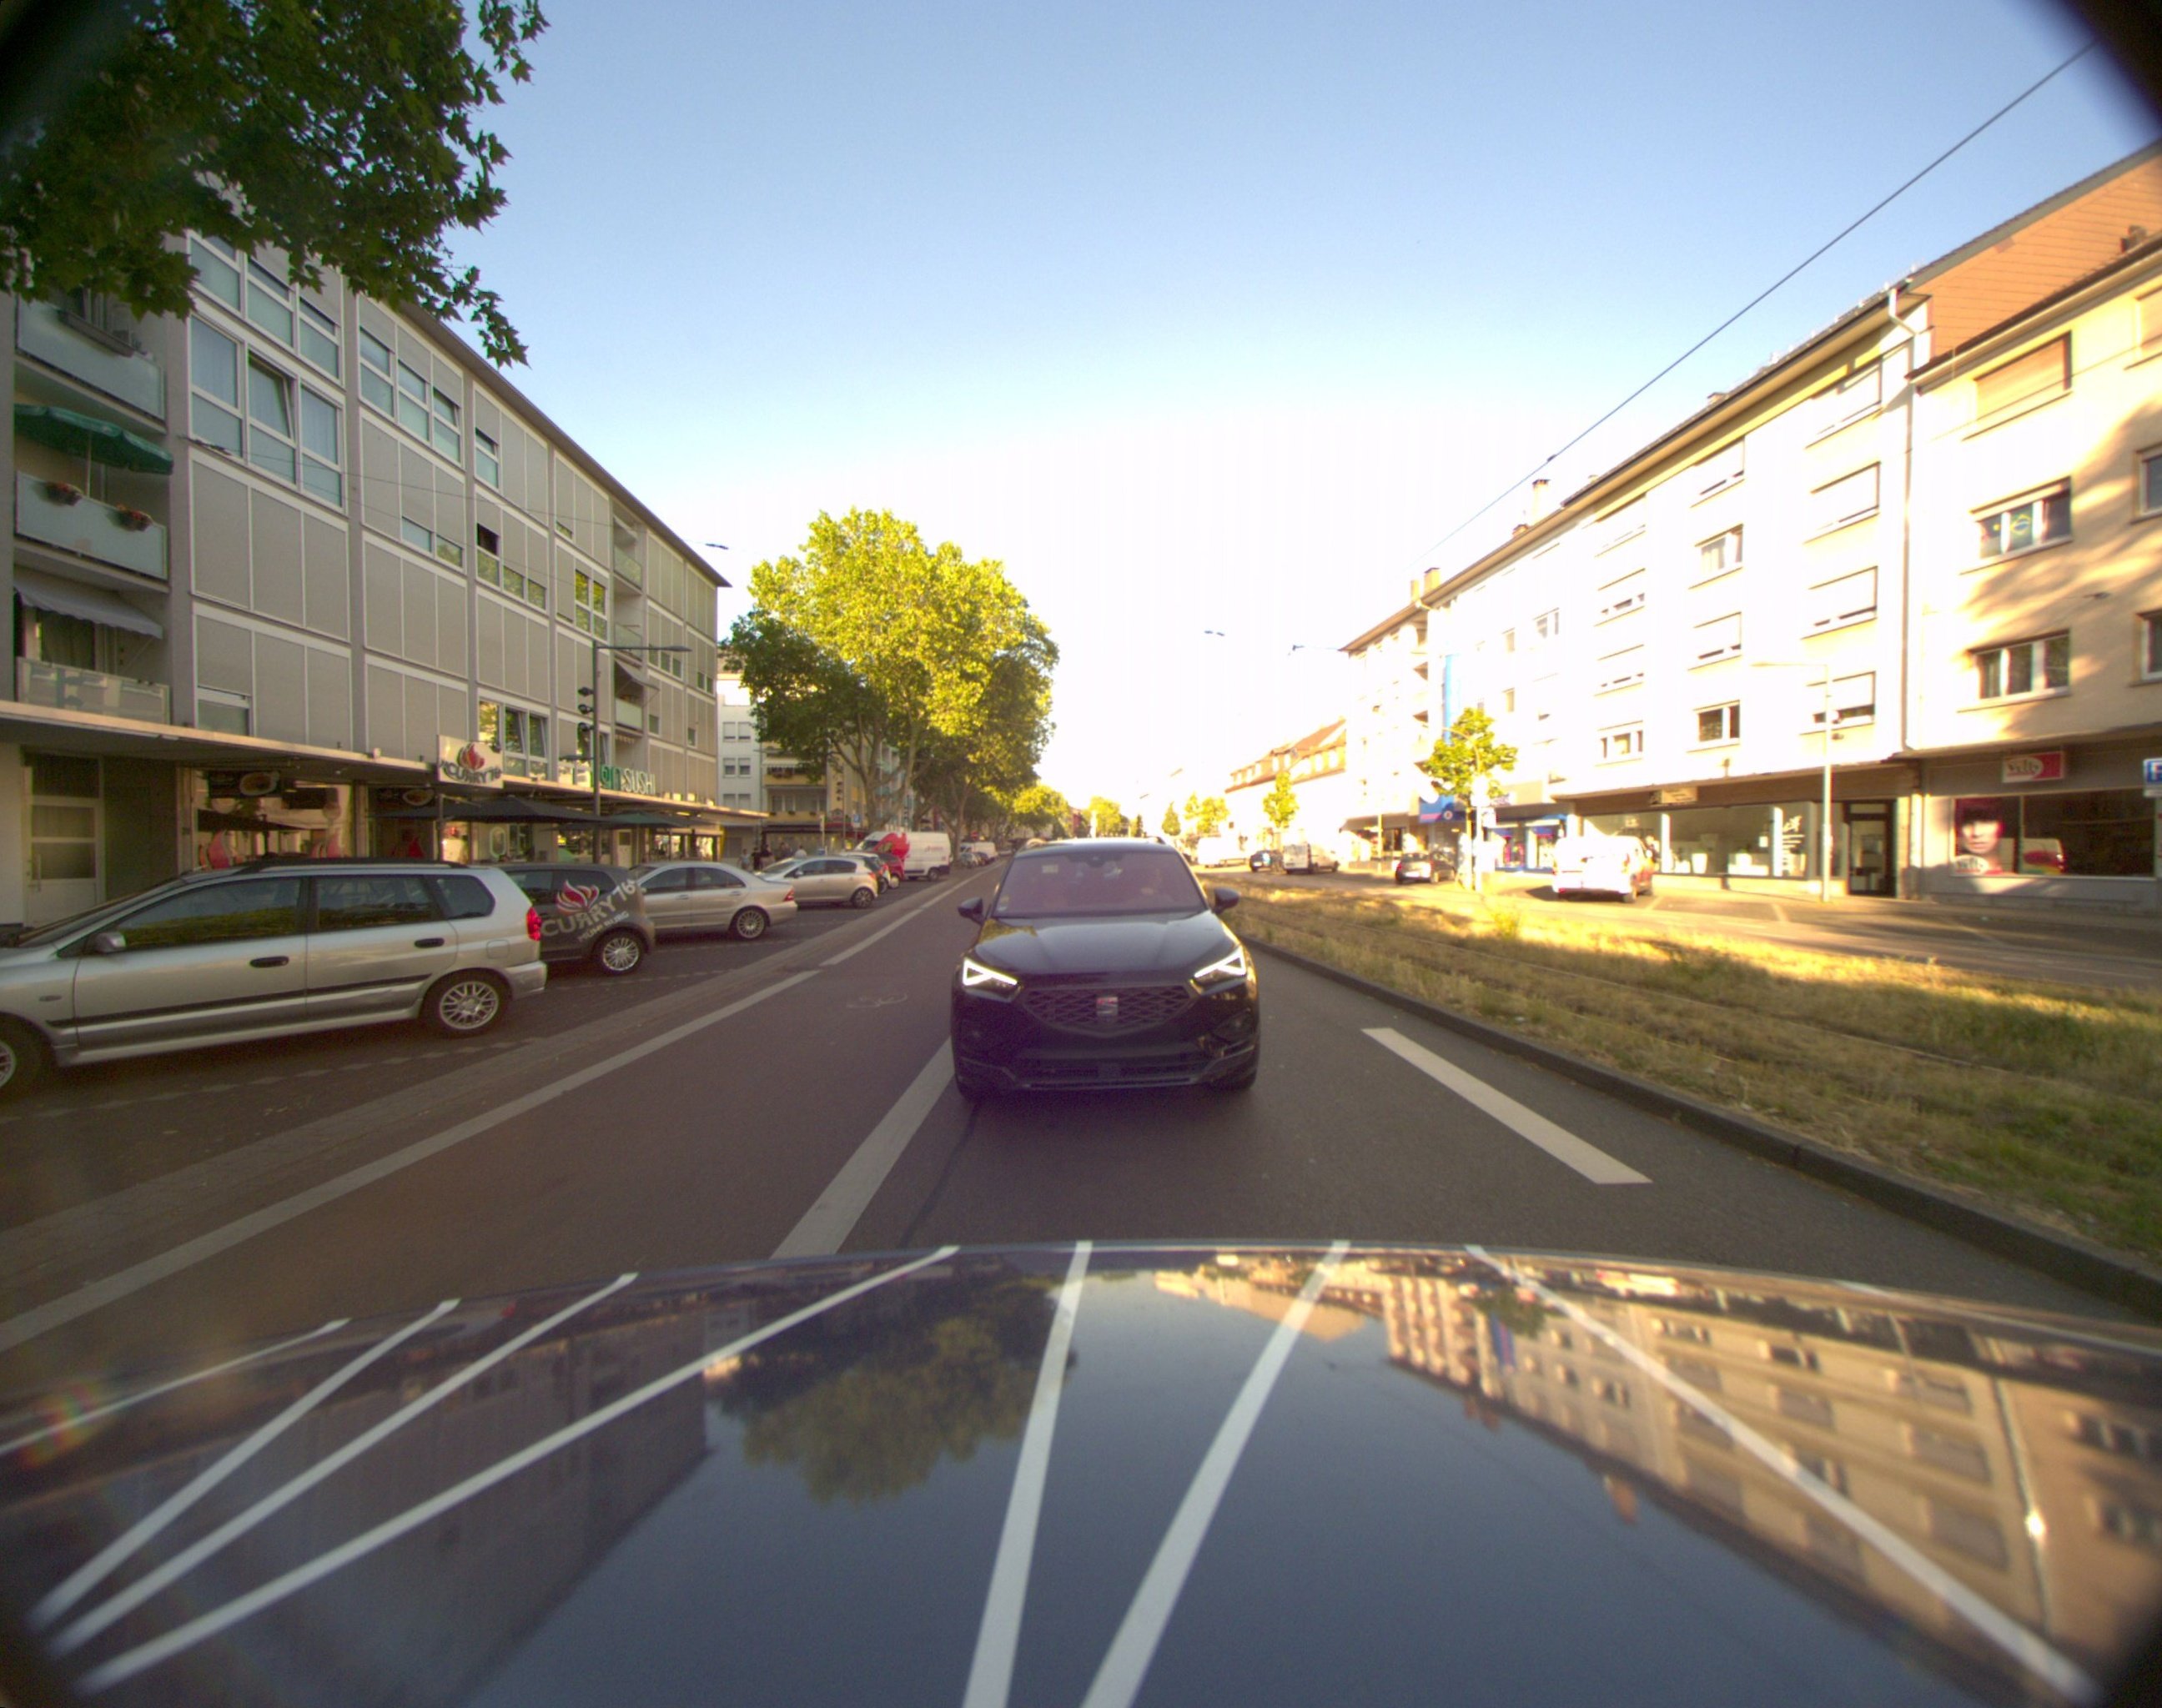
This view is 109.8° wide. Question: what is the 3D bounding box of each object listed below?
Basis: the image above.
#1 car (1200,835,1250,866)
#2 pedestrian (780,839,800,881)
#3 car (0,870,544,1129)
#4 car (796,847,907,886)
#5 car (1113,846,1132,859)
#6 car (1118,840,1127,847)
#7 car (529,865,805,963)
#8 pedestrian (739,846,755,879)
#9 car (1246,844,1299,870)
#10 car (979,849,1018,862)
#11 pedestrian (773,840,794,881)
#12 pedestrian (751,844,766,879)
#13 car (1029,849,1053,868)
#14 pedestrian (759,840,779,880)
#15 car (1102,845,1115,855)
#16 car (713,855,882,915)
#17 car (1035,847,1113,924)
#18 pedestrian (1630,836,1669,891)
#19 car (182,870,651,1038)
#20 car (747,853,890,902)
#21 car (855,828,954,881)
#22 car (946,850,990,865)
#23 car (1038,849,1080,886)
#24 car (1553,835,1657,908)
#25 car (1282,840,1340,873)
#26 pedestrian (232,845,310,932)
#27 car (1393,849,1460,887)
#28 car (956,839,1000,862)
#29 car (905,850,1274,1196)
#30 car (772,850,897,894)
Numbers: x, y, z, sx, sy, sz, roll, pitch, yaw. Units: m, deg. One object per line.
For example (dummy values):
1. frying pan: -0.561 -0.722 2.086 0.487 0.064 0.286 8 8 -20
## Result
1. car: 13.066 -0.351 68.583 1.922 2.599 6.601 -1 1 34
2. pedestrian: -13.880 0.270 36.267 0.748 2.002 0.559 0 1 -4
3. car: -6.890 0.951 6.014 1.672 1.533 3.993 2 1 38
4. car: -9.194 0.502 30.541 3.948 1.421 1.672 1 2 -32
5. car: 5.425 -0.226 99.569 1.846 1.571 4.448 0 1 -4
6. car: 12.498 -3.122 228.621 2.497 1.871 5.274 0 1 3
7. car: -7.123 0.926 13.381 1.592 1.393 3.950 2 1 41
8. pedestrian: -16.598 0.398 37.764 0.537 1.630 0.478 0 1 -4
9. car: 13.813 0.203 54.682 3.922 1.704 1.853 -2 1 -45
10. car: -8.899 0.172 82.443 1.778 1.326 3.943 1 1 44
11. pedestrian: -14.445 0.302 36.917 0.748 2.002 0.764 0 1 -4
12. pedestrian: -16.024 0.355 37.798 0.545 1.710 0.457 0 1 -4
13. car: -3.239 0.339 62.637 1.729 1.443 4.227 -2 1 -1
14. pedestrian: -15.225 0.295 37.080 0.748 1.964 0.575 0 1 -4
15. car: 5.102 -0.724 141.759 1.999 1.783 3.998 0 1 -4
16. car: -7.556 0.786 20.490 3.950 1.420 1.555 1 1 -45
17. car: -0.171 0.676 18.807 1.646 1.646 3.999 -2 1 -1
18. pedestrian: 19.062 0.315 25.482 0.756 1.817 0.918 -1 1 16
19. car: -7.583 0.962 9.033 1.672 1.420 3.950 2 1 38
20. car: -8.288 0.727 24.073 3.949 1.420 1.672 1 1 -34
21. car: -8.712 0.046 37.875 4.606 2.479 1.672 0 0 -44
22. car: -10.822 0.284 72.893 1.778 1.396 3.943 1 1 44
23. car: -0.939 0.561 33.827 1.729 1.467 3.999 -2 1 -1
24. car: 15.625 0.460 22.582 1.853 1.888 4.007 -1 2 44
25. car: 14.528 0.110 47.835 1.853 1.927 4.513 -1 1 40
26. pedestrian: -15.091 0.625 14.167 0.583 1.573 0.771 0 1 2
27. car: 15.497 0.574 33.962 1.731 1.489 4.008 -1 1 40
28. car: -11.477 -0.410 85.098 1.973 2.454 4.605 1 1 44
29. car: 0.077 0.842 5.801 1.785 1.639 3.999 -2 1 1
30. car: -8.811 0.643 27.270 3.948 1.421 1.672 2 2 -32
